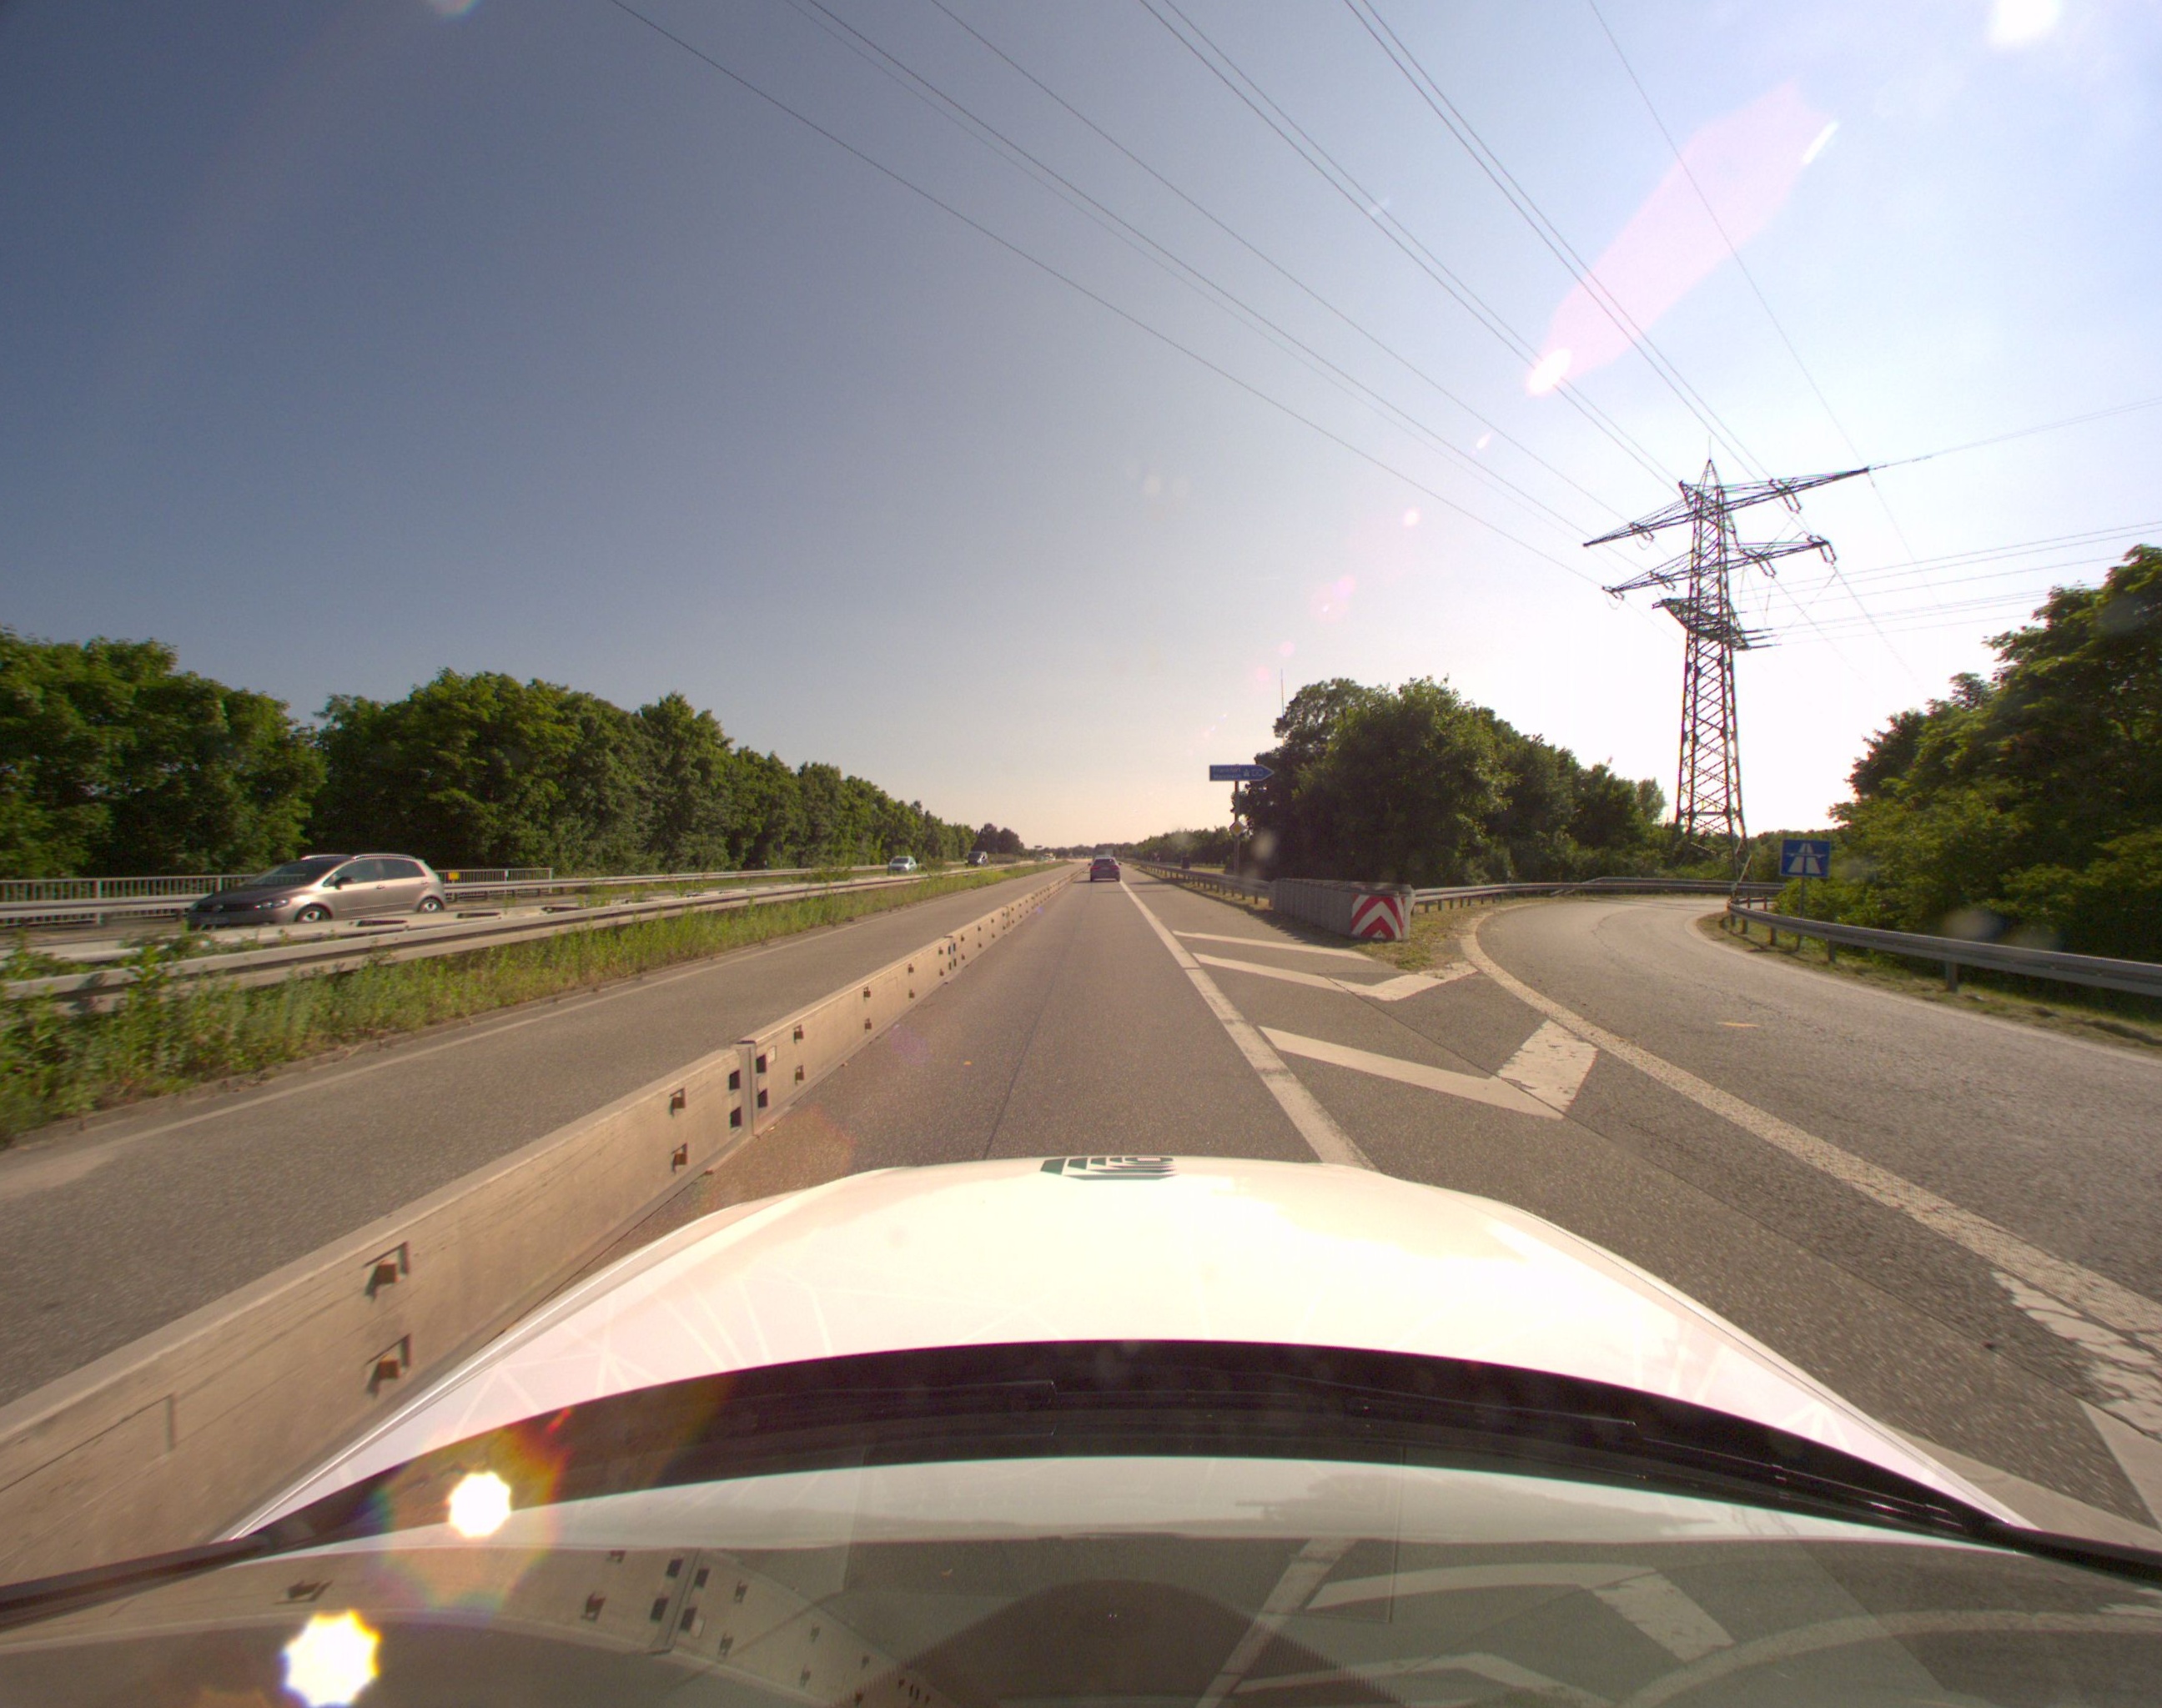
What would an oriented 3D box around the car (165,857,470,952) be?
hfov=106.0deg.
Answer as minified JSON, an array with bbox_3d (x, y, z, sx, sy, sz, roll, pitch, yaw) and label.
[{"bbox_3d":[-14.723,0.875,16.144,1.756,1.583,4.424,-2,0,2],"label":"car"}]

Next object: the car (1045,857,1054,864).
[{"bbox_3d":[-7.118,1.503,185.903,1.754,1.470,4.794,0,0,1],"label":"car"}]

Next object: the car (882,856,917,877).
[{"bbox_3d":[-13.405,0.920,60.260,1.641,1.531,3.819,0,0,1],"label":"car"}]

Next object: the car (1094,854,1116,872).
[{"bbox_3d":[2.257,0.819,76.459,1.986,1.567,4.002,-1,0,2],"label":"car"}]

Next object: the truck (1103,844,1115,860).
[{"bbox_3d":[8.939,-0.616,261.992,3.747,4.911,14.141,0,0,2],"label":"truck"}]

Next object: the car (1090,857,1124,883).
[{"bbox_3d":[1.523,0.914,48.846,1.914,1.494,3.999,0,0,0],"label":"car"}]

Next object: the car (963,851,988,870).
[{"bbox_3d":[-11.698,0.720,90.576,1.986,2.034,5.170,-1,0,1],"label":"car"}]
